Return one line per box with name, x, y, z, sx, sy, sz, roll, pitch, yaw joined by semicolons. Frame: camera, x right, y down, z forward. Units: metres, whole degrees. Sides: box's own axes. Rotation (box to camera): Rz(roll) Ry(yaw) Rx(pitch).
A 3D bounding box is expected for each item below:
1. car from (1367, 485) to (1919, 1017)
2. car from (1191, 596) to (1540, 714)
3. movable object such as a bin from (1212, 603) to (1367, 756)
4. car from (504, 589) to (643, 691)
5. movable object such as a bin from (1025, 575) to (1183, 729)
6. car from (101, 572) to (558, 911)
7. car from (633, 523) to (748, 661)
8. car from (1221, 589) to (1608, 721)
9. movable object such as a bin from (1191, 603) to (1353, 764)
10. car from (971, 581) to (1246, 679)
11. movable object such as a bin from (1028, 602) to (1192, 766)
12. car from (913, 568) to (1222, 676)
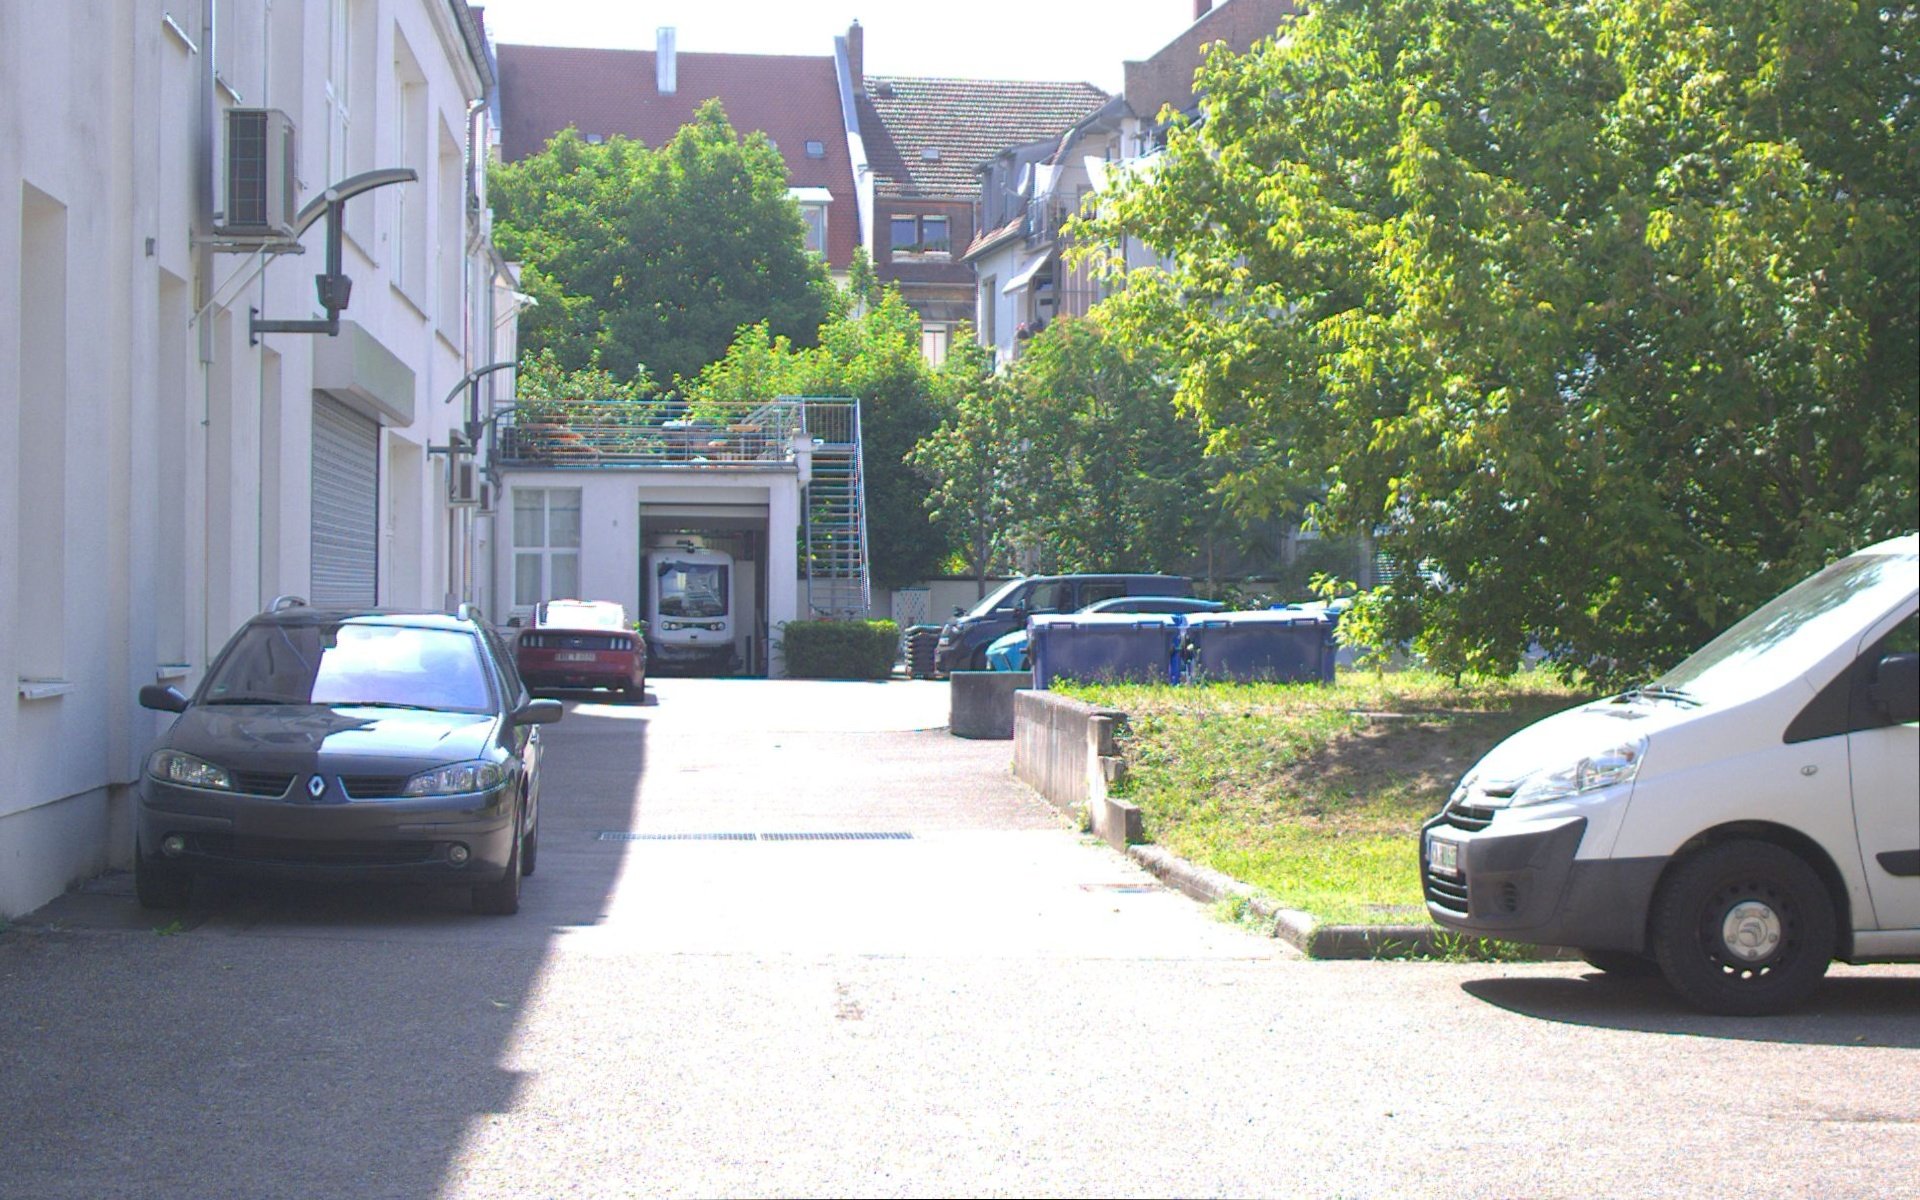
car;4.290;0.563;13.625;5.023;1.926;2.000;1;0;-3
car;4.938;0.660;42.146;3.986;1.389;1.689;0;0;-5
movable object such as a bin;2.944;0.700;30.813;1.155;1.332;1.142;0;0;-8
car;-5.472;0.538;48.979;1.851;1.315;4.001;2;0;-5
movable object such as a bin;1.280;0.455;30.826;1.247;1.350;1.129;0;0;-8
car;-3.033;0.675;17.377;1.836;1.437;4.430;2;-1;-5
car;-5.387;-0.142;68.866;2.174;2.598;6.735;0;0;-4
car;5.089;0.601;38.752;3.986;1.422;1.812;0;0;-7
movable object such as a bin;2.635;0.697;29.179;1.247;1.336;1.142;0;0;-2
car;2.413;0.476;56.584;4.228;1.527;2.001;-1;1;-8
movable object such as a bin;1.257;0.706;29.027;1.247;1.315;1.142;-2;-1;-3
car;1.862;0.348;59.805;4.950;1.761;2.097;-1;1;-17
